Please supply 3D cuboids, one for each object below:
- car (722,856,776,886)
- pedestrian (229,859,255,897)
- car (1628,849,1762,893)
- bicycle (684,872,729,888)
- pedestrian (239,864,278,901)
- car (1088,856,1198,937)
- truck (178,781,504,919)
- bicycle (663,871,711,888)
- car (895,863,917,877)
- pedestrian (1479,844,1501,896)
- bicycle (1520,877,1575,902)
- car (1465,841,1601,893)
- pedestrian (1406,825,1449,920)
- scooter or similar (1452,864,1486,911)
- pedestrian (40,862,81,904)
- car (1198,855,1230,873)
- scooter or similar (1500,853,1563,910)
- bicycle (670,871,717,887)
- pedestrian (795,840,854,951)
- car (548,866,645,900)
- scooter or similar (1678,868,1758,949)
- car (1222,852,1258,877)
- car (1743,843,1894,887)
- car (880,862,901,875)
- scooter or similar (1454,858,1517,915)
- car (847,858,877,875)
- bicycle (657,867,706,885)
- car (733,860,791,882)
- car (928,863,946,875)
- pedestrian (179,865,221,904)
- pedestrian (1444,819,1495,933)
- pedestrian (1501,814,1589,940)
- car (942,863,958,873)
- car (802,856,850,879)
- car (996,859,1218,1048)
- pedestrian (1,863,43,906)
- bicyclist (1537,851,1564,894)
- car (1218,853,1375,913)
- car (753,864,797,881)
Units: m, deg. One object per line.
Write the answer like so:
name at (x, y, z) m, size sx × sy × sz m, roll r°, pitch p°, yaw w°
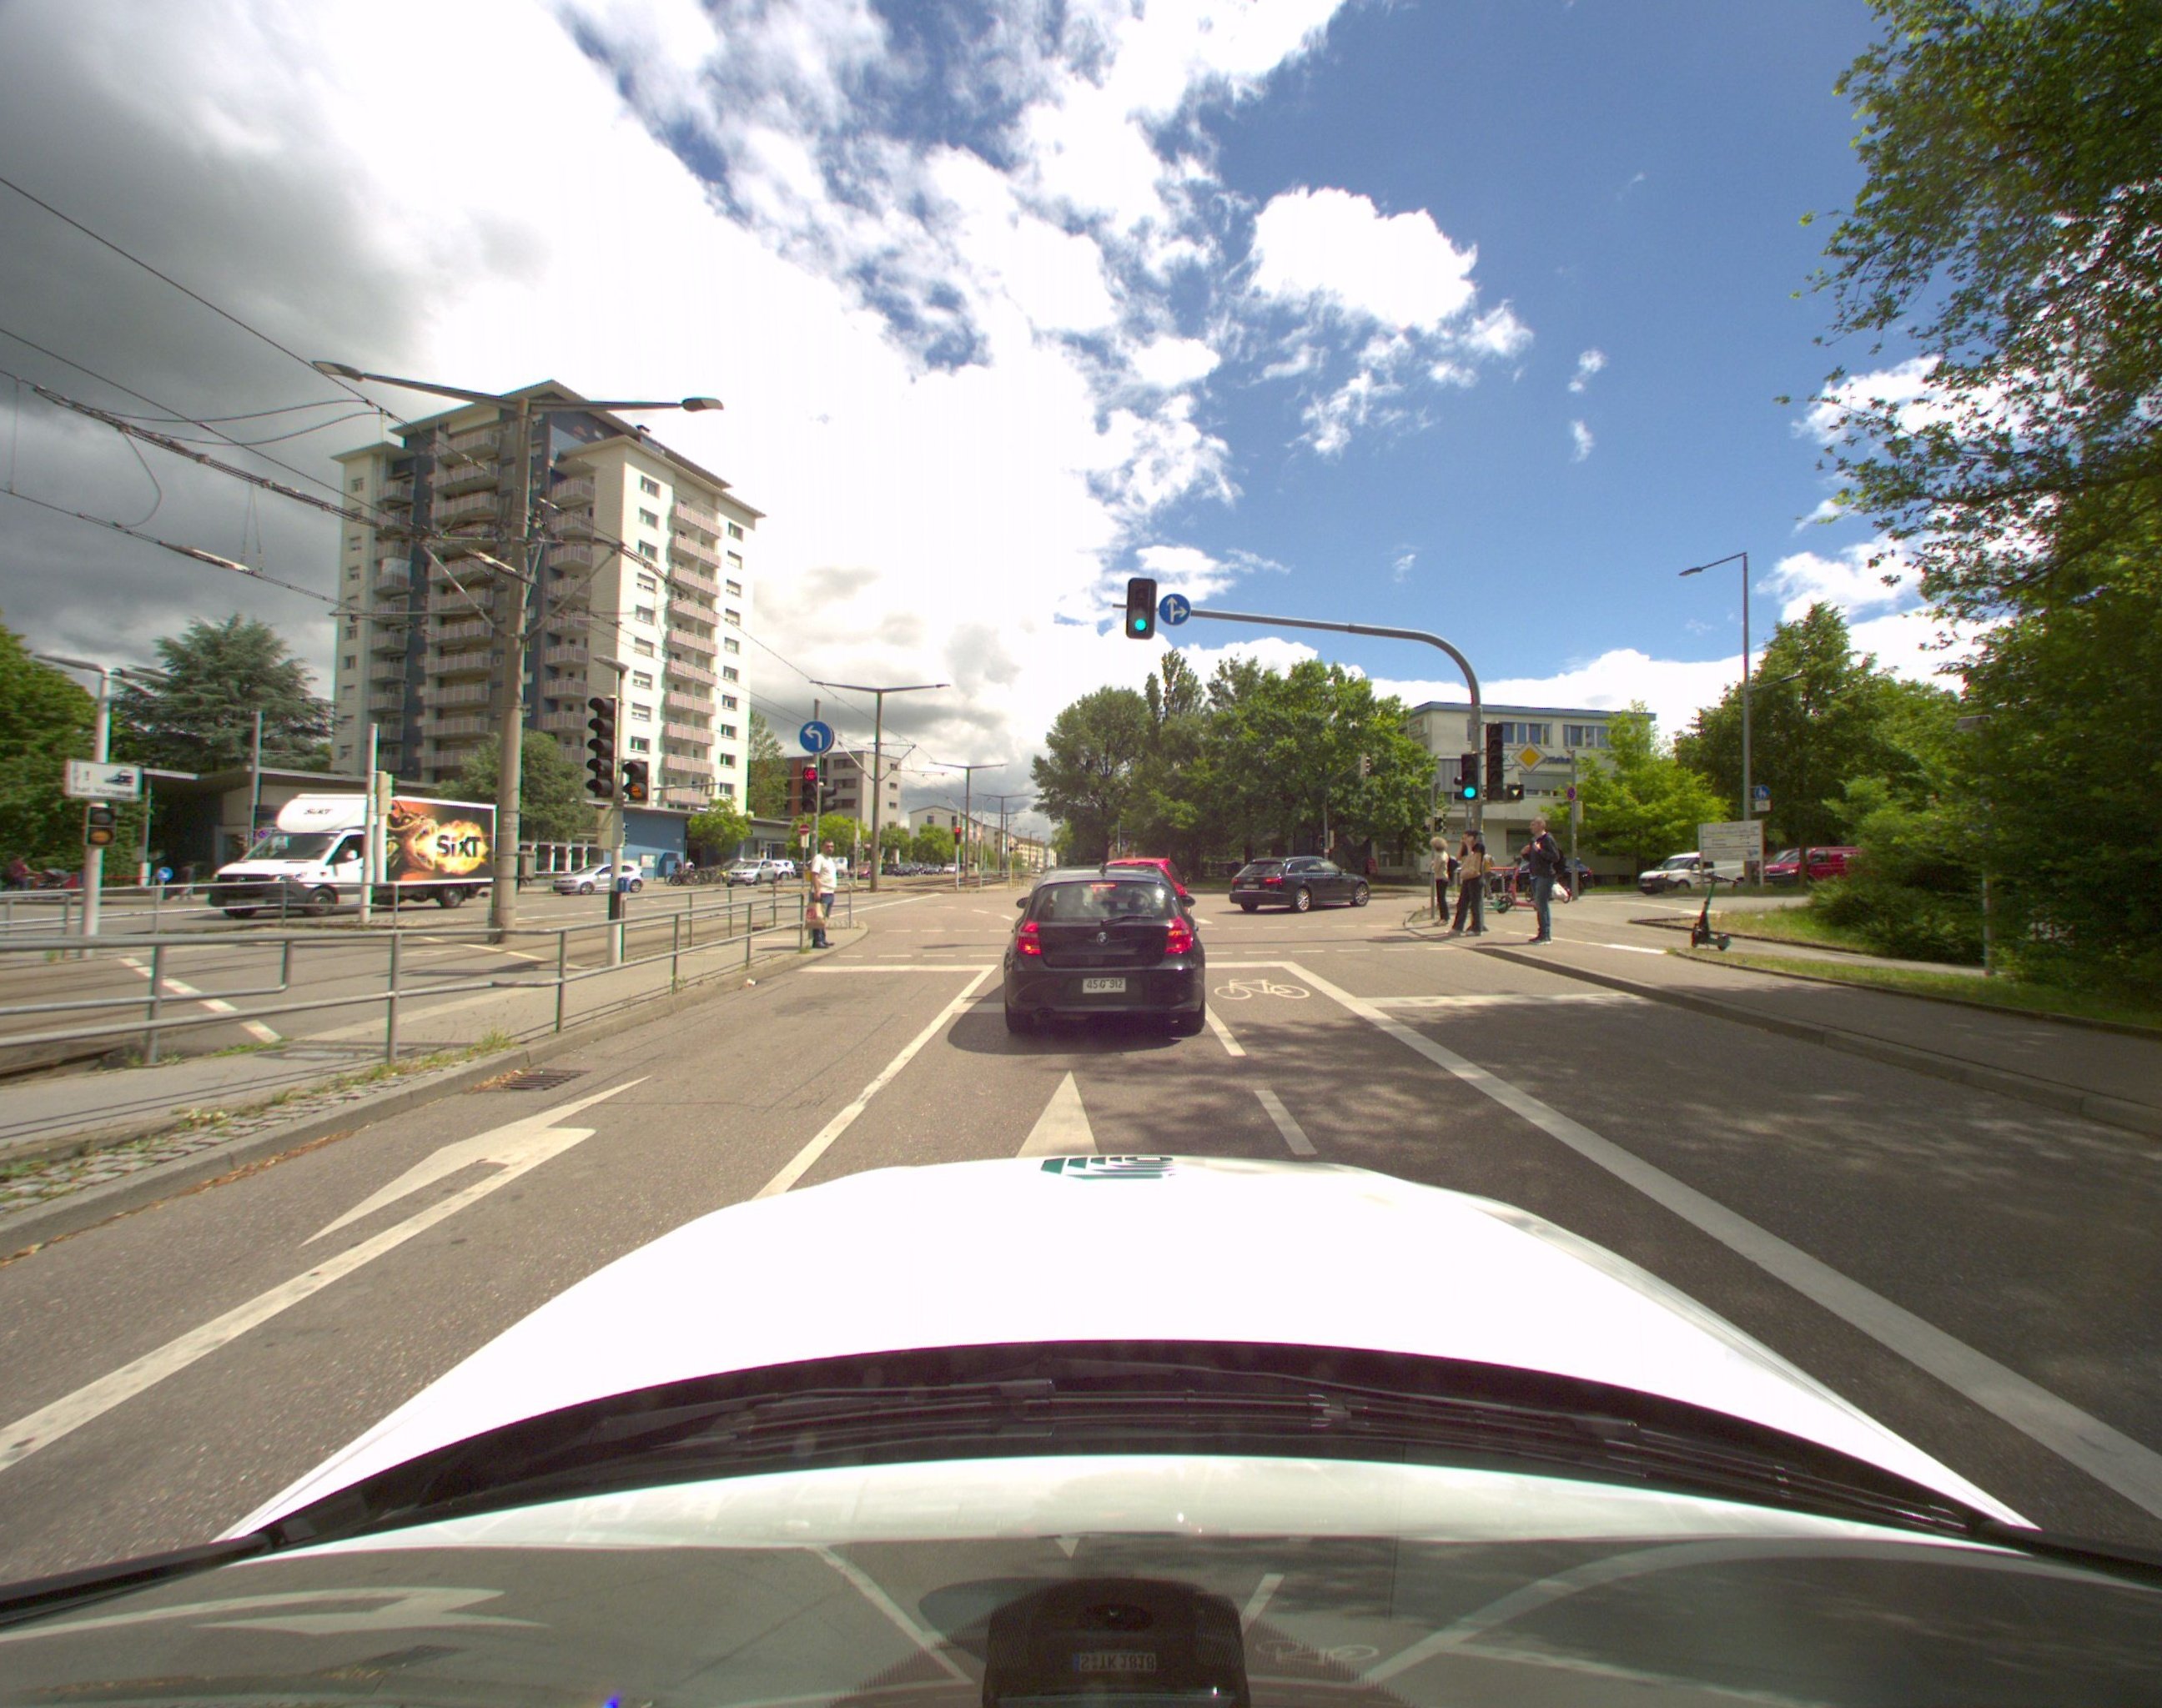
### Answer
car at (-19.804, 0.988, 48.763) m, size 1.585 × 1.756 × 3.776 m, roll 0°, pitch 0°, yaw 1°
pedestrian at (-37.153, 1.056, 36.051) m, size 0.365 × 1.670 × 0.718 m, roll 0°, pitch 0°, yaw 5°
car at (25.799, 0.676, 34.296) m, size 4.366 × 1.764 × 1.995 m, roll 0°, pitch 0°, yaw -7°
bicycle at (-24.151, 1.701, 52.526) m, size 2.569 × 1.008 × 0.749 m, roll 1°, pitch -2°, yaw -26°
pedestrian at (-34.558, 1.202, 34.216) m, size 0.738 × 1.510 × 0.929 m, roll 0°, pitch 0°, yaw 24°
car at (1.315, 0.746, 15.984) m, size 1.627 × 1.400 × 3.432 m, roll 0°, pitch 0°, yaw 13°
truck at (-19.323, -0.091, 22.087) m, size 2.275 × 3.118 × 7.314 m, roll 0°, pitch 0°, yaw -2°
bicycle at (-23.881, 1.561, 49.363) m, size 2.569 × 1.008 × 0.749 m, roll 1°, pitch -2°, yaw -26°
car at (-20.027, 1.765, 93.254) m, size 1.645 × 1.534 × 3.872 m, roll 0°, pitch 0°, yaw 1°
pedestrian at (13.859, 0.532, 27.593) m, size 0.651 × 1.713 × 0.464 m, roll 0°, pitch -1°, yaw 28°
bicycle at (12.726, 0.959, 22.274) m, size 0.531 × 0.610 × 1.589 m, roll -1°, pitch 0°, yaw -2°
car at (18.306, 0.501, 33.095) m, size 4.528 × 2.013 × 1.996 m, roll 0°, pitch 0°, yaw -5°
pedestrian at (6.600, 0.349, 15.540) m, size 0.632 × 1.766 × 0.519 m, roll -1°, pitch 0°, yaw 8°
scooter or similar at (9.426, 0.798, 19.807) m, size 0.543 × 1.064 × 1.267 m, roll -1°, pitch 0°, yaw 16°
pedestrian at (-34.498, 0.979, 27.533) m, size 0.537 × 1.375 × 0.677 m, roll 0°, pitch 0°, yaw 1°
car at (12.301, 0.902, 75.623) m, size 1.862 × 1.662 × 3.988 m, roll 0°, pitch 0°, yaw -8°
scooter or similar at (10.393, 0.620, 18.820) m, size 1.145 × 1.272 × 0.556 m, roll 1°, pitch 0°, yaw 4°
bicycle at (-23.992, 1.557, 50.469) m, size 2.569 × 1.008 × 0.749 m, roll 1°, pitch -2°, yaw -26°
pedestrian at (-4.151, 0.660, 13.209) m, size 0.684 × 1.734 × 0.688 m, roll -1°, pitch 0°, yaw 2°
car at (-22.761, 1.309, 38.391) m, size 1.394 × 1.461 × 3.796 m, roll 0°, pitch 0°, yaw 25°
scooter or similar at (10.520, 0.889, 13.463) m, size 0.886 × 1.230 × 0.455 m, roll 4°, pitch 0°, yaw 2°
car at (12.633, 0.820, 64.868) m, size 1.724 × 1.871 × 3.991 m, roll 0°, pitch 0°, yaw -6°
car at (31.577, 0.452, 34.948) m, size 4.954 × 1.800 × 1.996 m, roll 0°, pitch 0°, yaw -5°
car at (-22.953, 1.783, 98.292) m, size 1.585 × 1.474 × 3.776 m, roll 0°, pitch 0°, yaw 1°
scooter or similar at (8.941, 0.708, 18.021) m, size 1.104 × 1.235 × 0.540 m, roll -1°, pitch 0°, yaw 4°
car at (-19.794, 1.122, 73.812) m, size 1.645 × 1.534 × 3.872 m, roll 0°, pitch 0°, yaw 1°
bicycle at (-23.680, 1.304, 48.368) m, size 2.569 × 1.008 × 0.749 m, roll 1°, pitch -2°, yaw -26°
car at (-25.082, 1.322, 64.126) m, size 3.946 × 1.647 × 1.636 m, roll -1°, pitch 0°, yaw -43°
car at (-19.112, 1.940, 108.214) m, size 1.645 × 1.534 × 3.872 m, roll 0°, pitch 0°, yaw 1°
pedestrian at (-35.092, 1.219, 32.451) m, size 0.738 × 1.510 × 0.929 m, roll 0°, pitch 0°, yaw 24°
pedestrian at (6.543, 0.360, 13.721) m, size 0.632 × 1.876 × 0.519 m, roll -1°, pitch 0°, yaw 8°
pedestrian at (7.176, 0.338, 12.647) m, size 0.792 × 1.876 × 1.014 m, roll -1°, pitch 0°, yaw 1°
car at (-19.737, 2.095, 122.837) m, size 1.645 × 1.534 × 3.872 m, roll 0°, pitch 0°, yaw 1°
car at (-23.622, 1.216, 75.450) m, size 3.944 × 1.975 × 1.637 m, roll -1°, pitch 0°, yaw -40°
car at (0.270, 0.779, 7.968) m, size 1.693 × 1.400 × 3.422 m, roll -1°, pitch 0°, yaw 2°
pedestrian at (-34.577, 0.980, 26.590) m, size 0.474 × 1.375 × 0.677 m, roll 0°, pitch 0°, yaw 1°
bicyclist at (12.742, 0.500, 22.120) m, size 0.500 × 1.157 × 0.399 m, roll -1°, pitch 0°, yaw -3°
car at (5.965, 0.719, 22.239) m, size 4.563 × 1.422 × 1.884 m, roll -1°, pitch 0°, yaw -41°
car at (-25.335, 1.512, 67.387) m, size 3.120 × 1.281 × 1.453 m, roll 0°, pitch 0°, yaw -36°
